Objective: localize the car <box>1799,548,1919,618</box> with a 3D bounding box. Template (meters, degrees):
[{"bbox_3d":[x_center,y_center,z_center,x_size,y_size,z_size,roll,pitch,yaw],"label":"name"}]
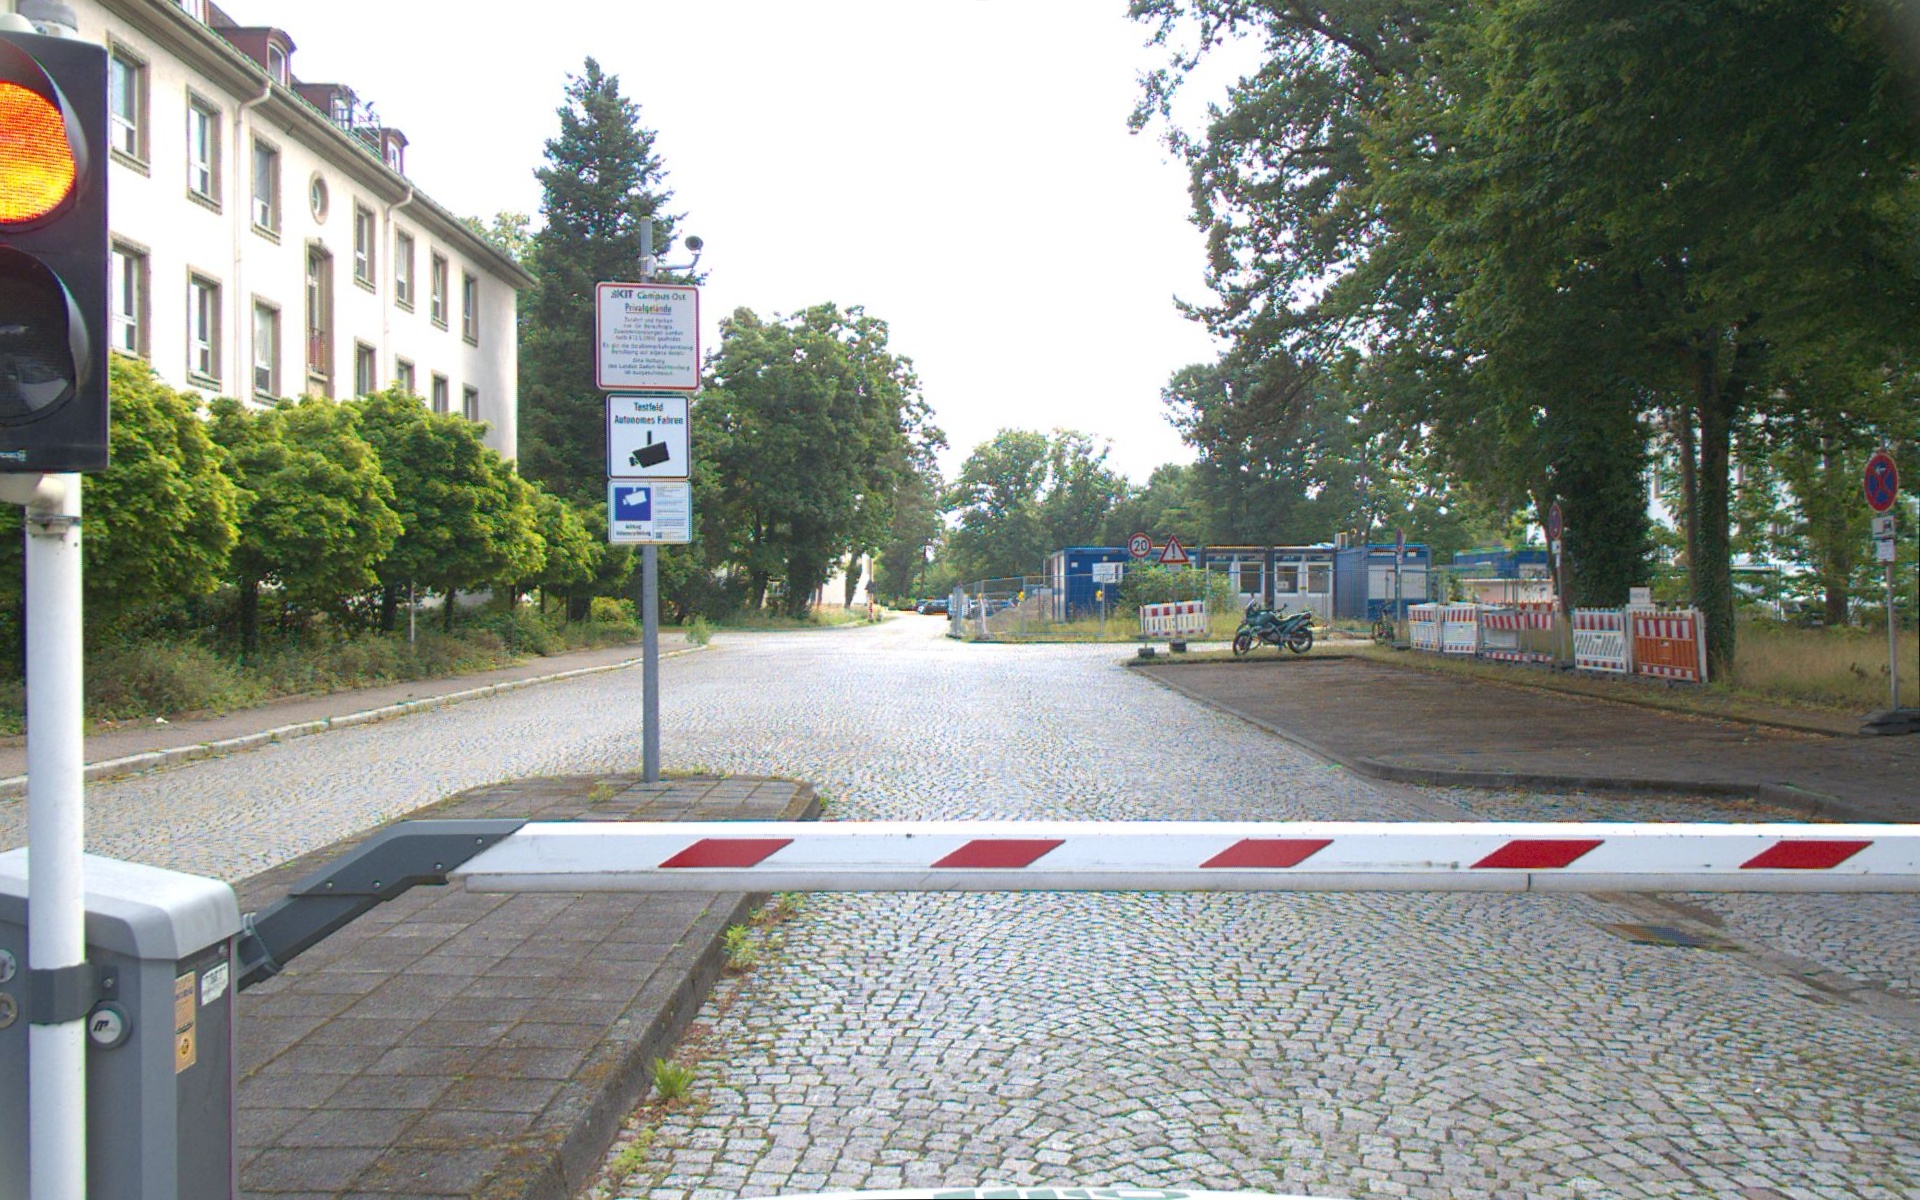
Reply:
[{"bbox_3d":[28.207,-0.519,51.235,1.953,2.049,4.839,-1,0,-1],"label":"car"}]

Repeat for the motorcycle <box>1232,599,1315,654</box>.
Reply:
[{"bbox_3d":[7.616,0.637,40.237,1.917,1.215,0.461,-2,5,-2],"label":"motorcycle"}]

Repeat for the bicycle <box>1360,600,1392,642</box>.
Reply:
[{"bbox_3d":[10.504,0.543,41.820,0.325,1.025,1.725,-1,-2,-1],"label":"bicycle"}]

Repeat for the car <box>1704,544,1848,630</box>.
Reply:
[{"bbox_3d":[24.680,-0.350,50.257,1.952,2.466,5.358,0,-1,3],"label":"car"}]

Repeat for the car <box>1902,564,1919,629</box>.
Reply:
[{"bbox_3d":[26.238,-0.112,40.926,1.971,1.679,4.795,0,-1,-28],"label":"car"}]

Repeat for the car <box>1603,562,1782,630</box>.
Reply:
[{"bbox_3d":[20.579,-0.087,46.595,4.132,1.852,2.000,0,-1,2],"label":"car"}]
